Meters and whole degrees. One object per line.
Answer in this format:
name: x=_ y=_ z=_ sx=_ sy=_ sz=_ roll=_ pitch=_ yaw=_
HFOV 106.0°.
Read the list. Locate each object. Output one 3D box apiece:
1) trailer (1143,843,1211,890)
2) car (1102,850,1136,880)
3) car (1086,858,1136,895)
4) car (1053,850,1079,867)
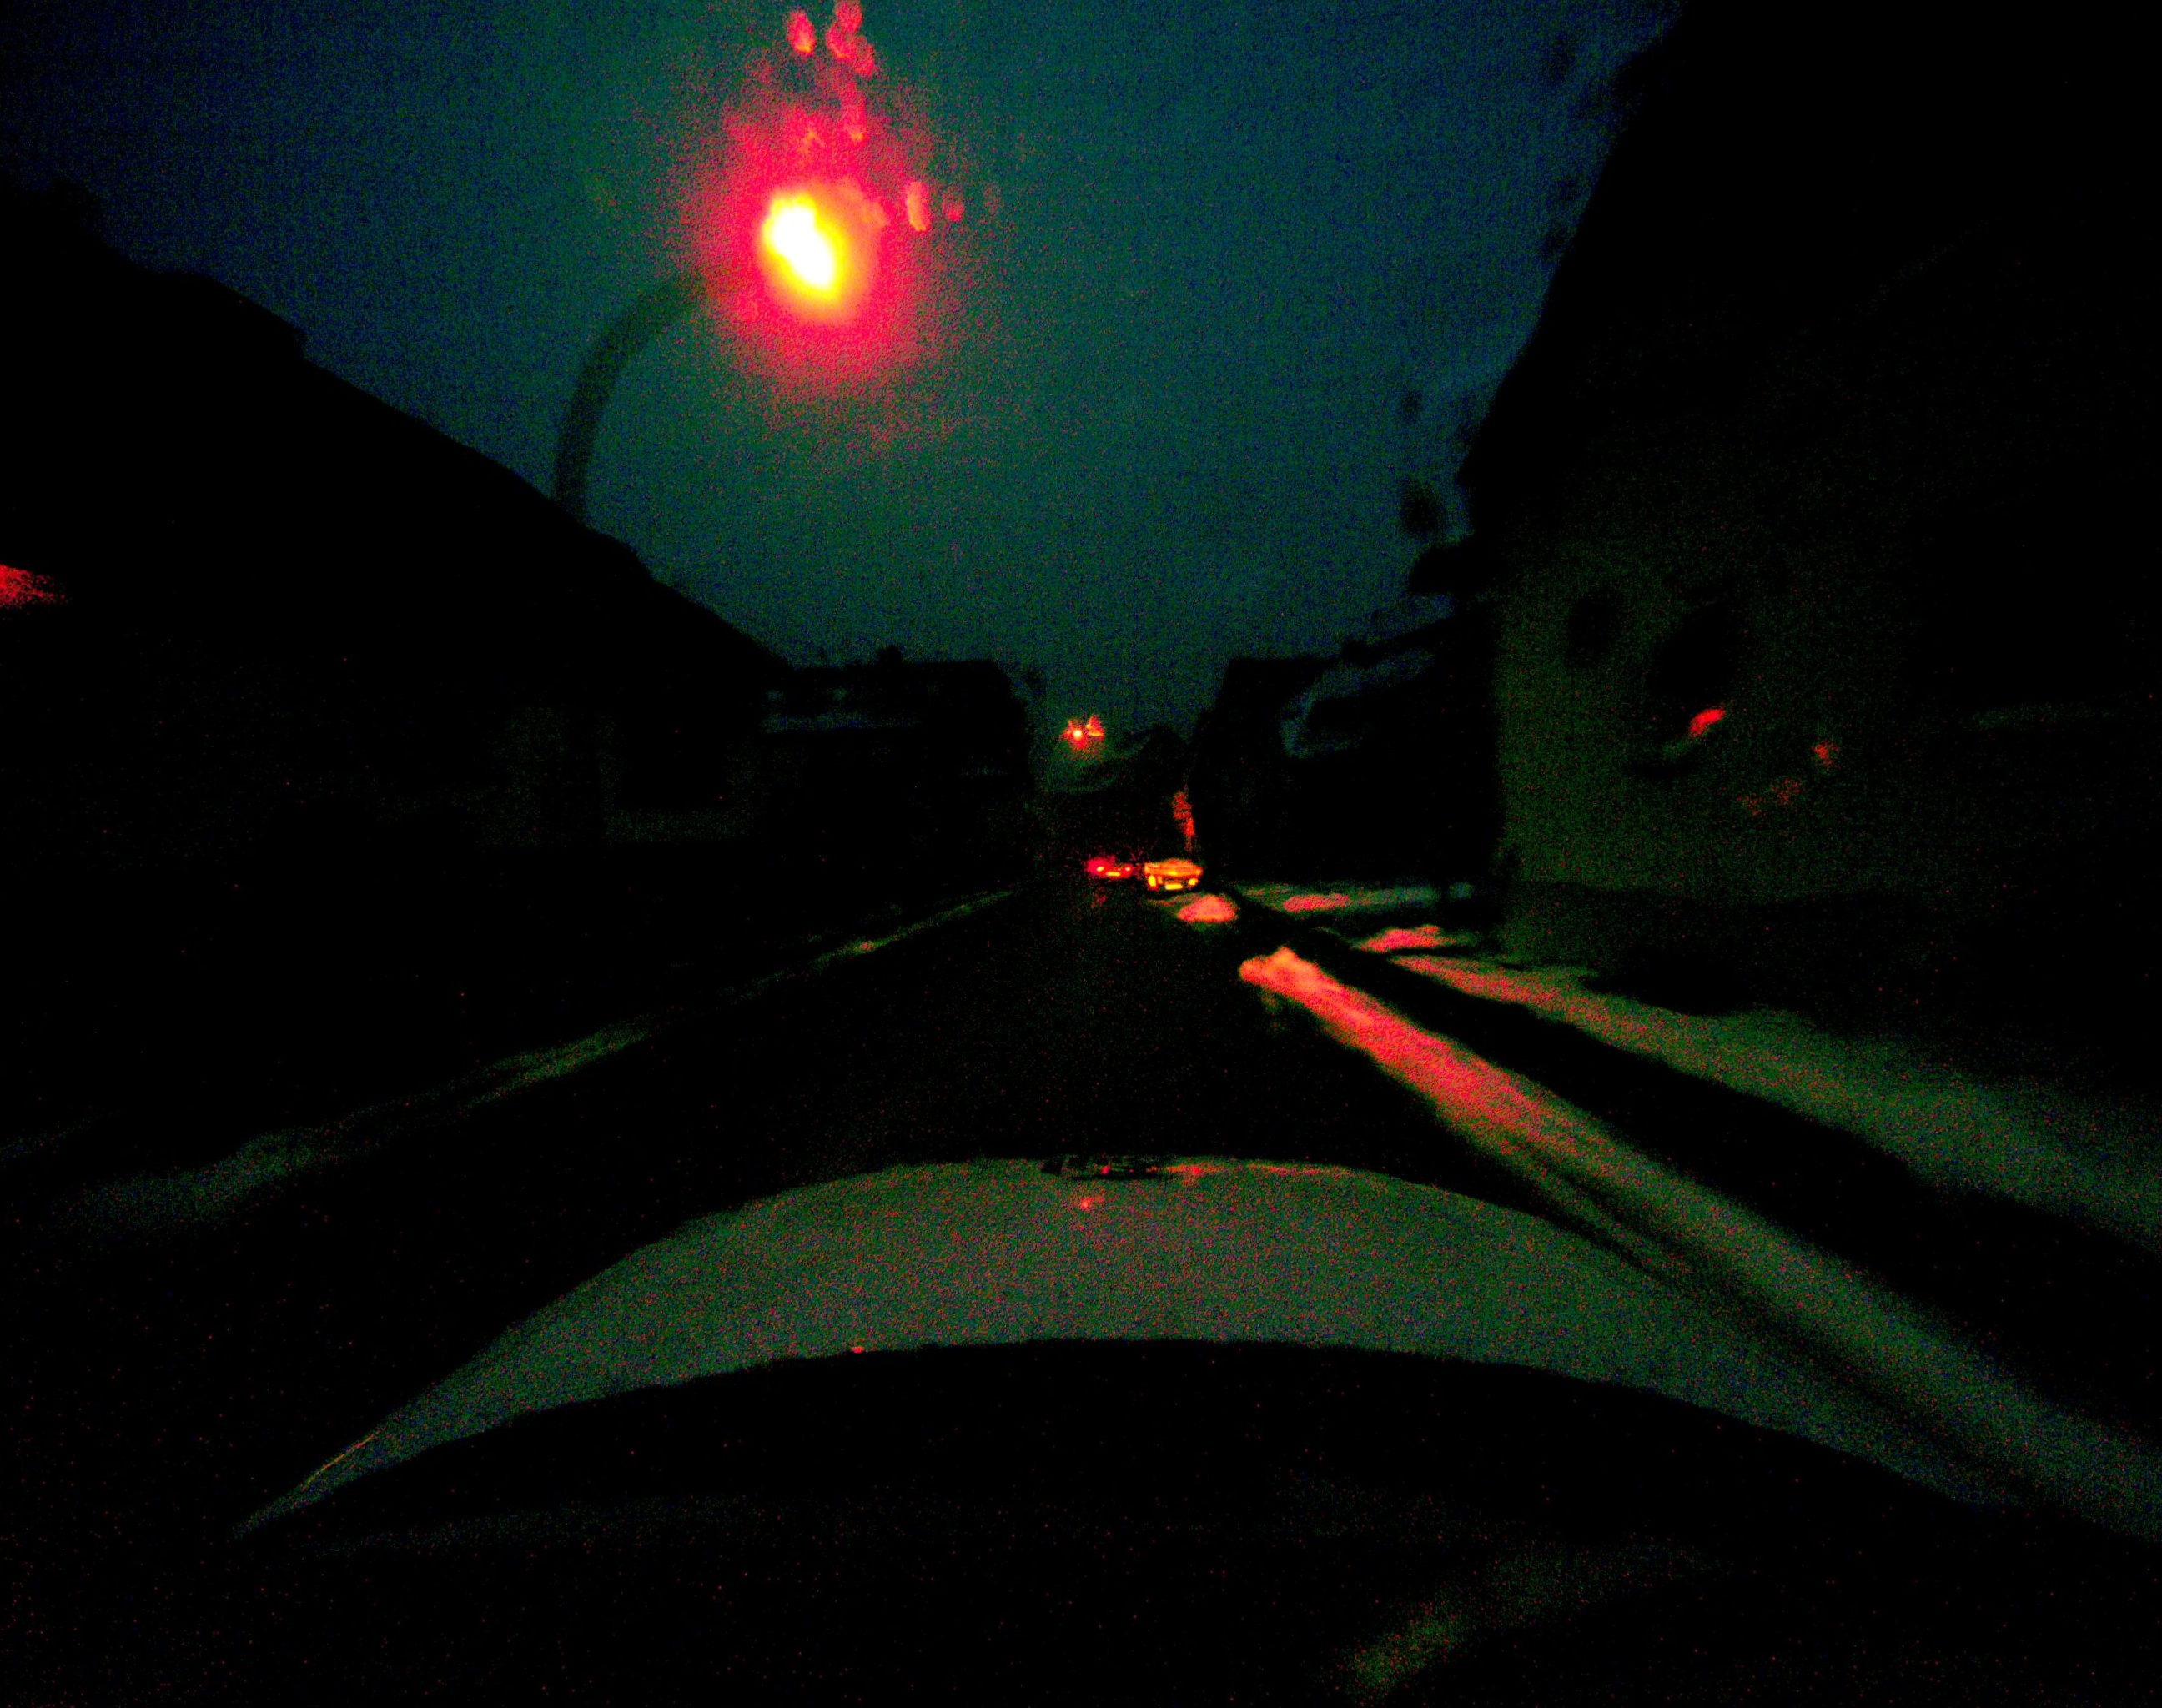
trailer: x=3.133 y=0.349 z=26.870 sx=1.983 sy=1.388 sz=4.739 roll=-1 pitch=1 yaw=6
car: x=2.361 y=0.653 z=49.616 sx=1.985 sy=1.728 sz=4.004 roll=-1 pitch=-1 yaw=3
car: x=1.394 y=0.950 z=35.903 sx=1.984 sy=1.508 sz=4.005 roll=-1 pitch=-1 yaw=5
car: x=-1.453 y=0.387 z=77.084 sx=1.909 sy=1.481 sz=4.271 roll=-3 pitch=1 yaw=-7
